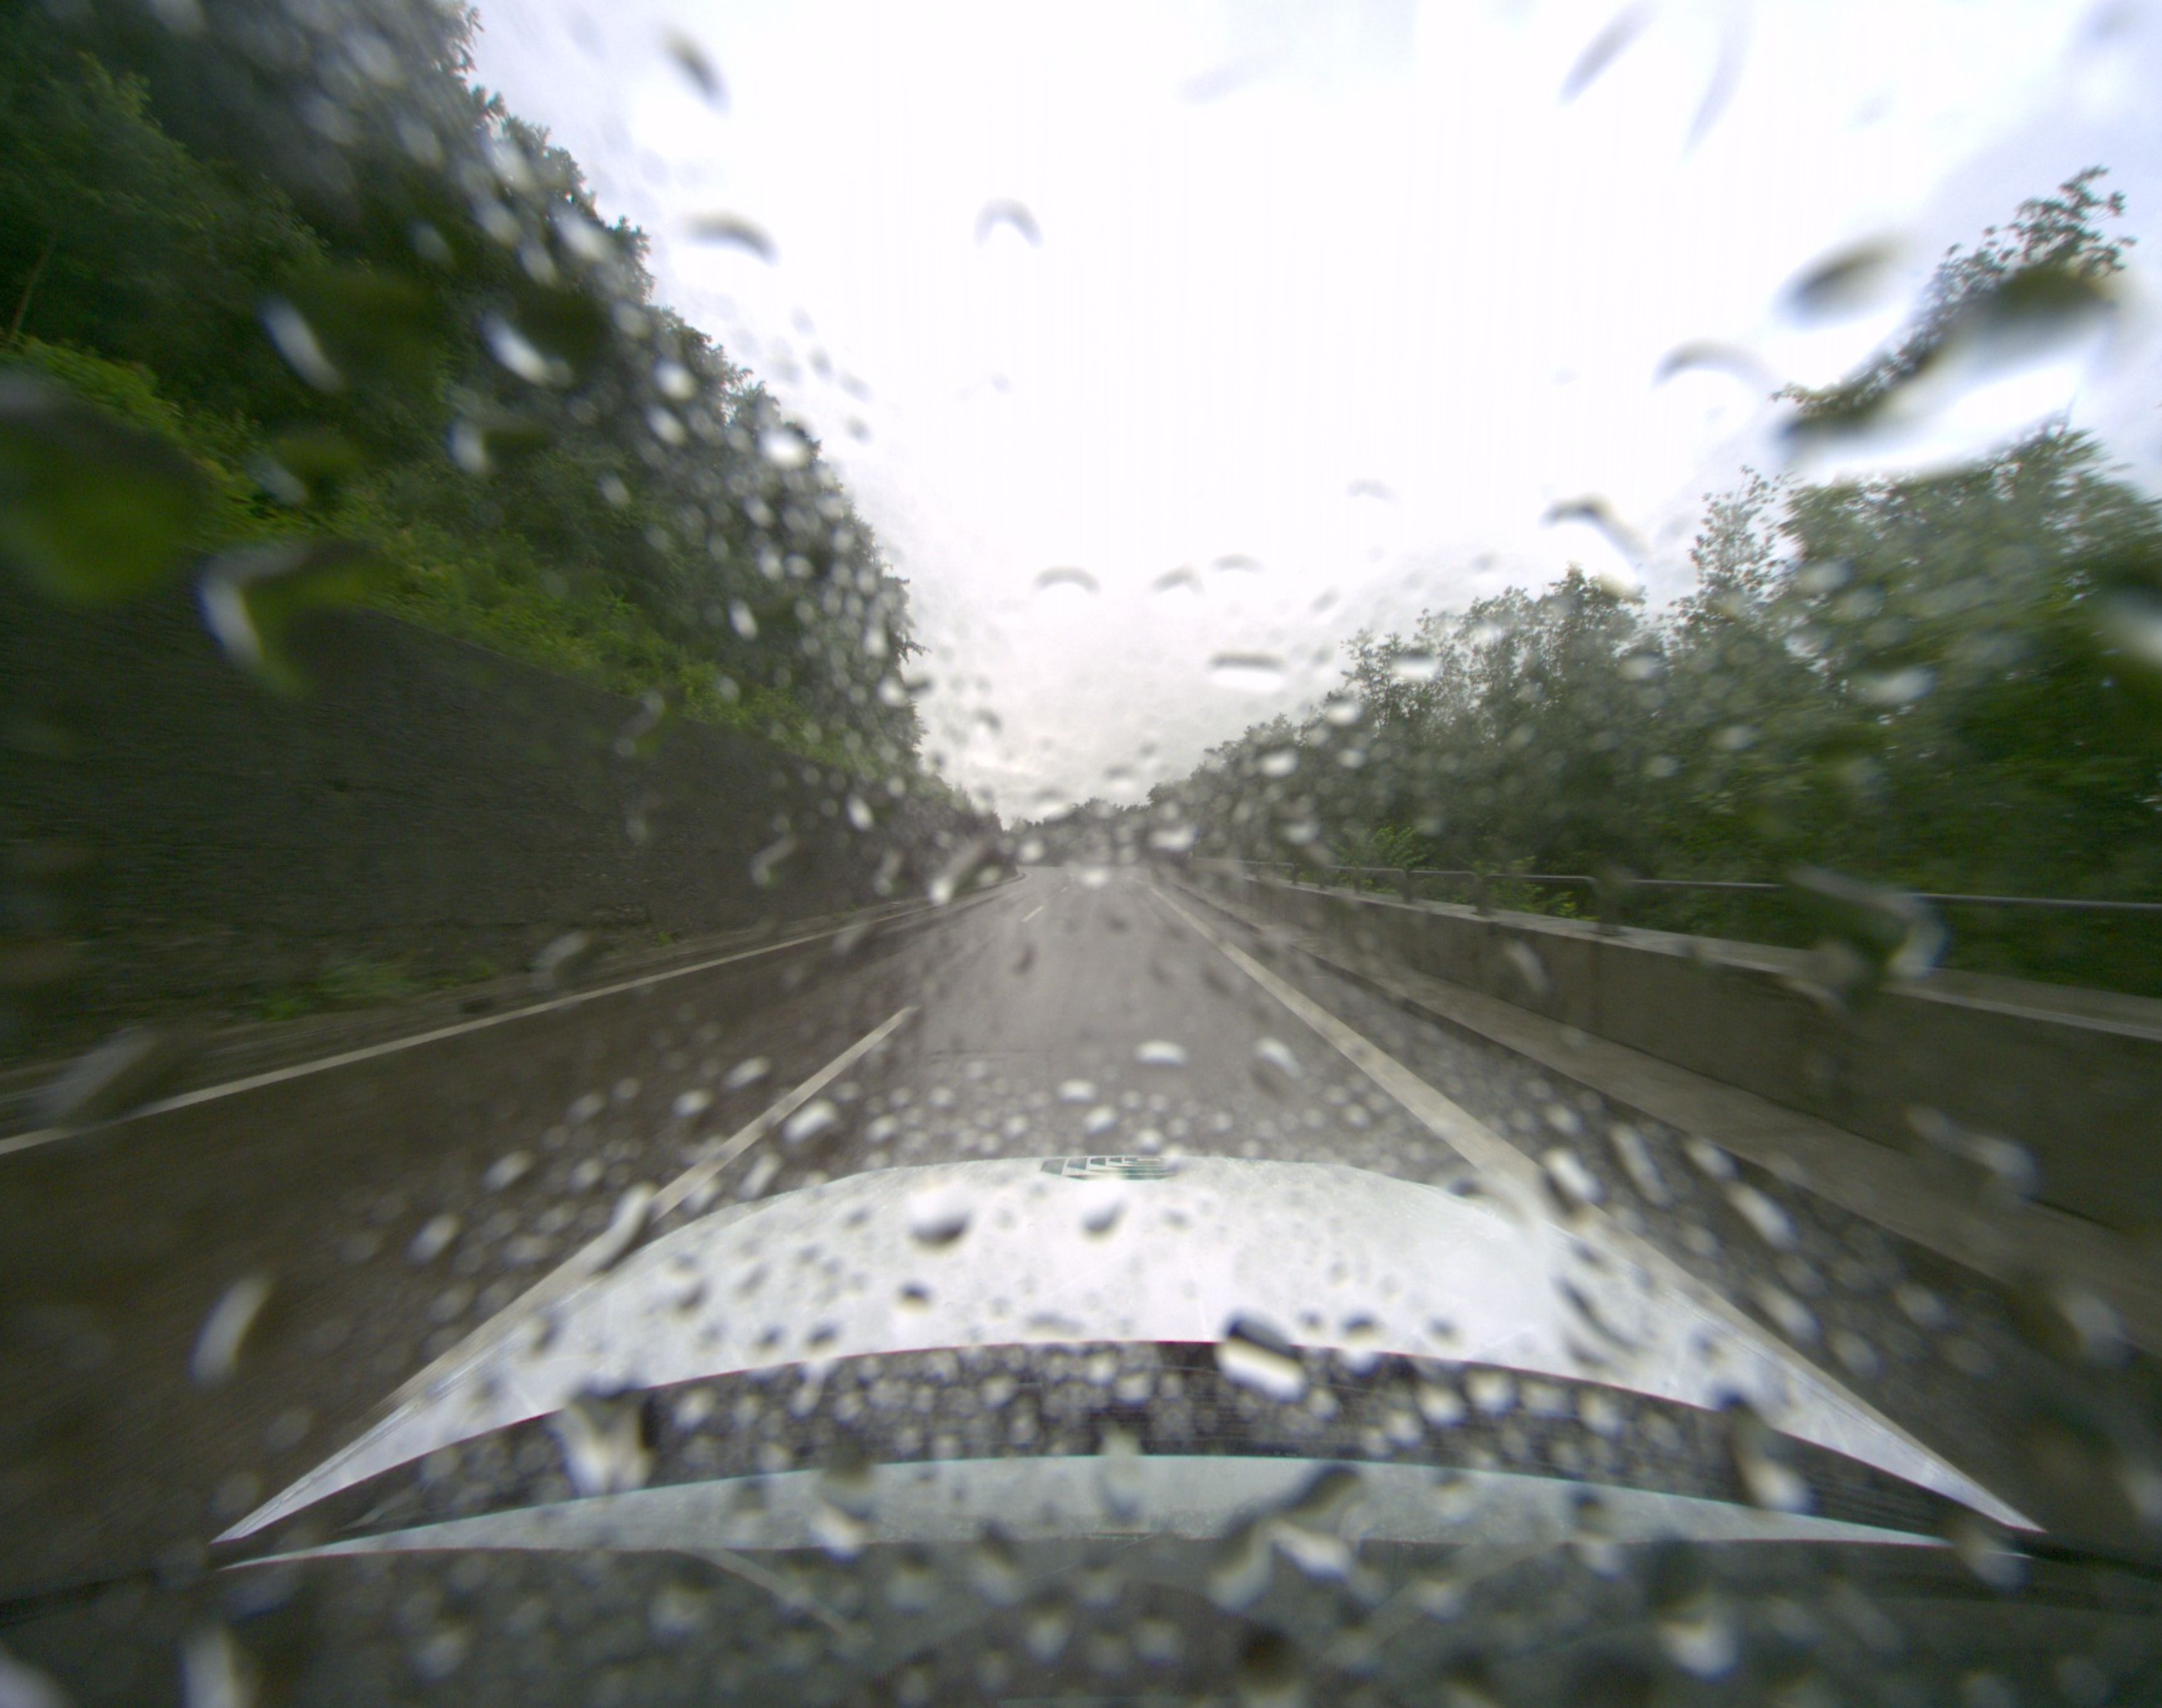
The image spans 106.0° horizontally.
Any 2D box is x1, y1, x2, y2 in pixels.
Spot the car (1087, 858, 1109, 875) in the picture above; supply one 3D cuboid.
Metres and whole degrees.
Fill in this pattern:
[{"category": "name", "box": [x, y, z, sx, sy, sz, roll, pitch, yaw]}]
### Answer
[{"category": "car", "box": [1.517, 1.165, 74.158, 1.897, 1.499, 4.000, 0, -1, 1]}]
